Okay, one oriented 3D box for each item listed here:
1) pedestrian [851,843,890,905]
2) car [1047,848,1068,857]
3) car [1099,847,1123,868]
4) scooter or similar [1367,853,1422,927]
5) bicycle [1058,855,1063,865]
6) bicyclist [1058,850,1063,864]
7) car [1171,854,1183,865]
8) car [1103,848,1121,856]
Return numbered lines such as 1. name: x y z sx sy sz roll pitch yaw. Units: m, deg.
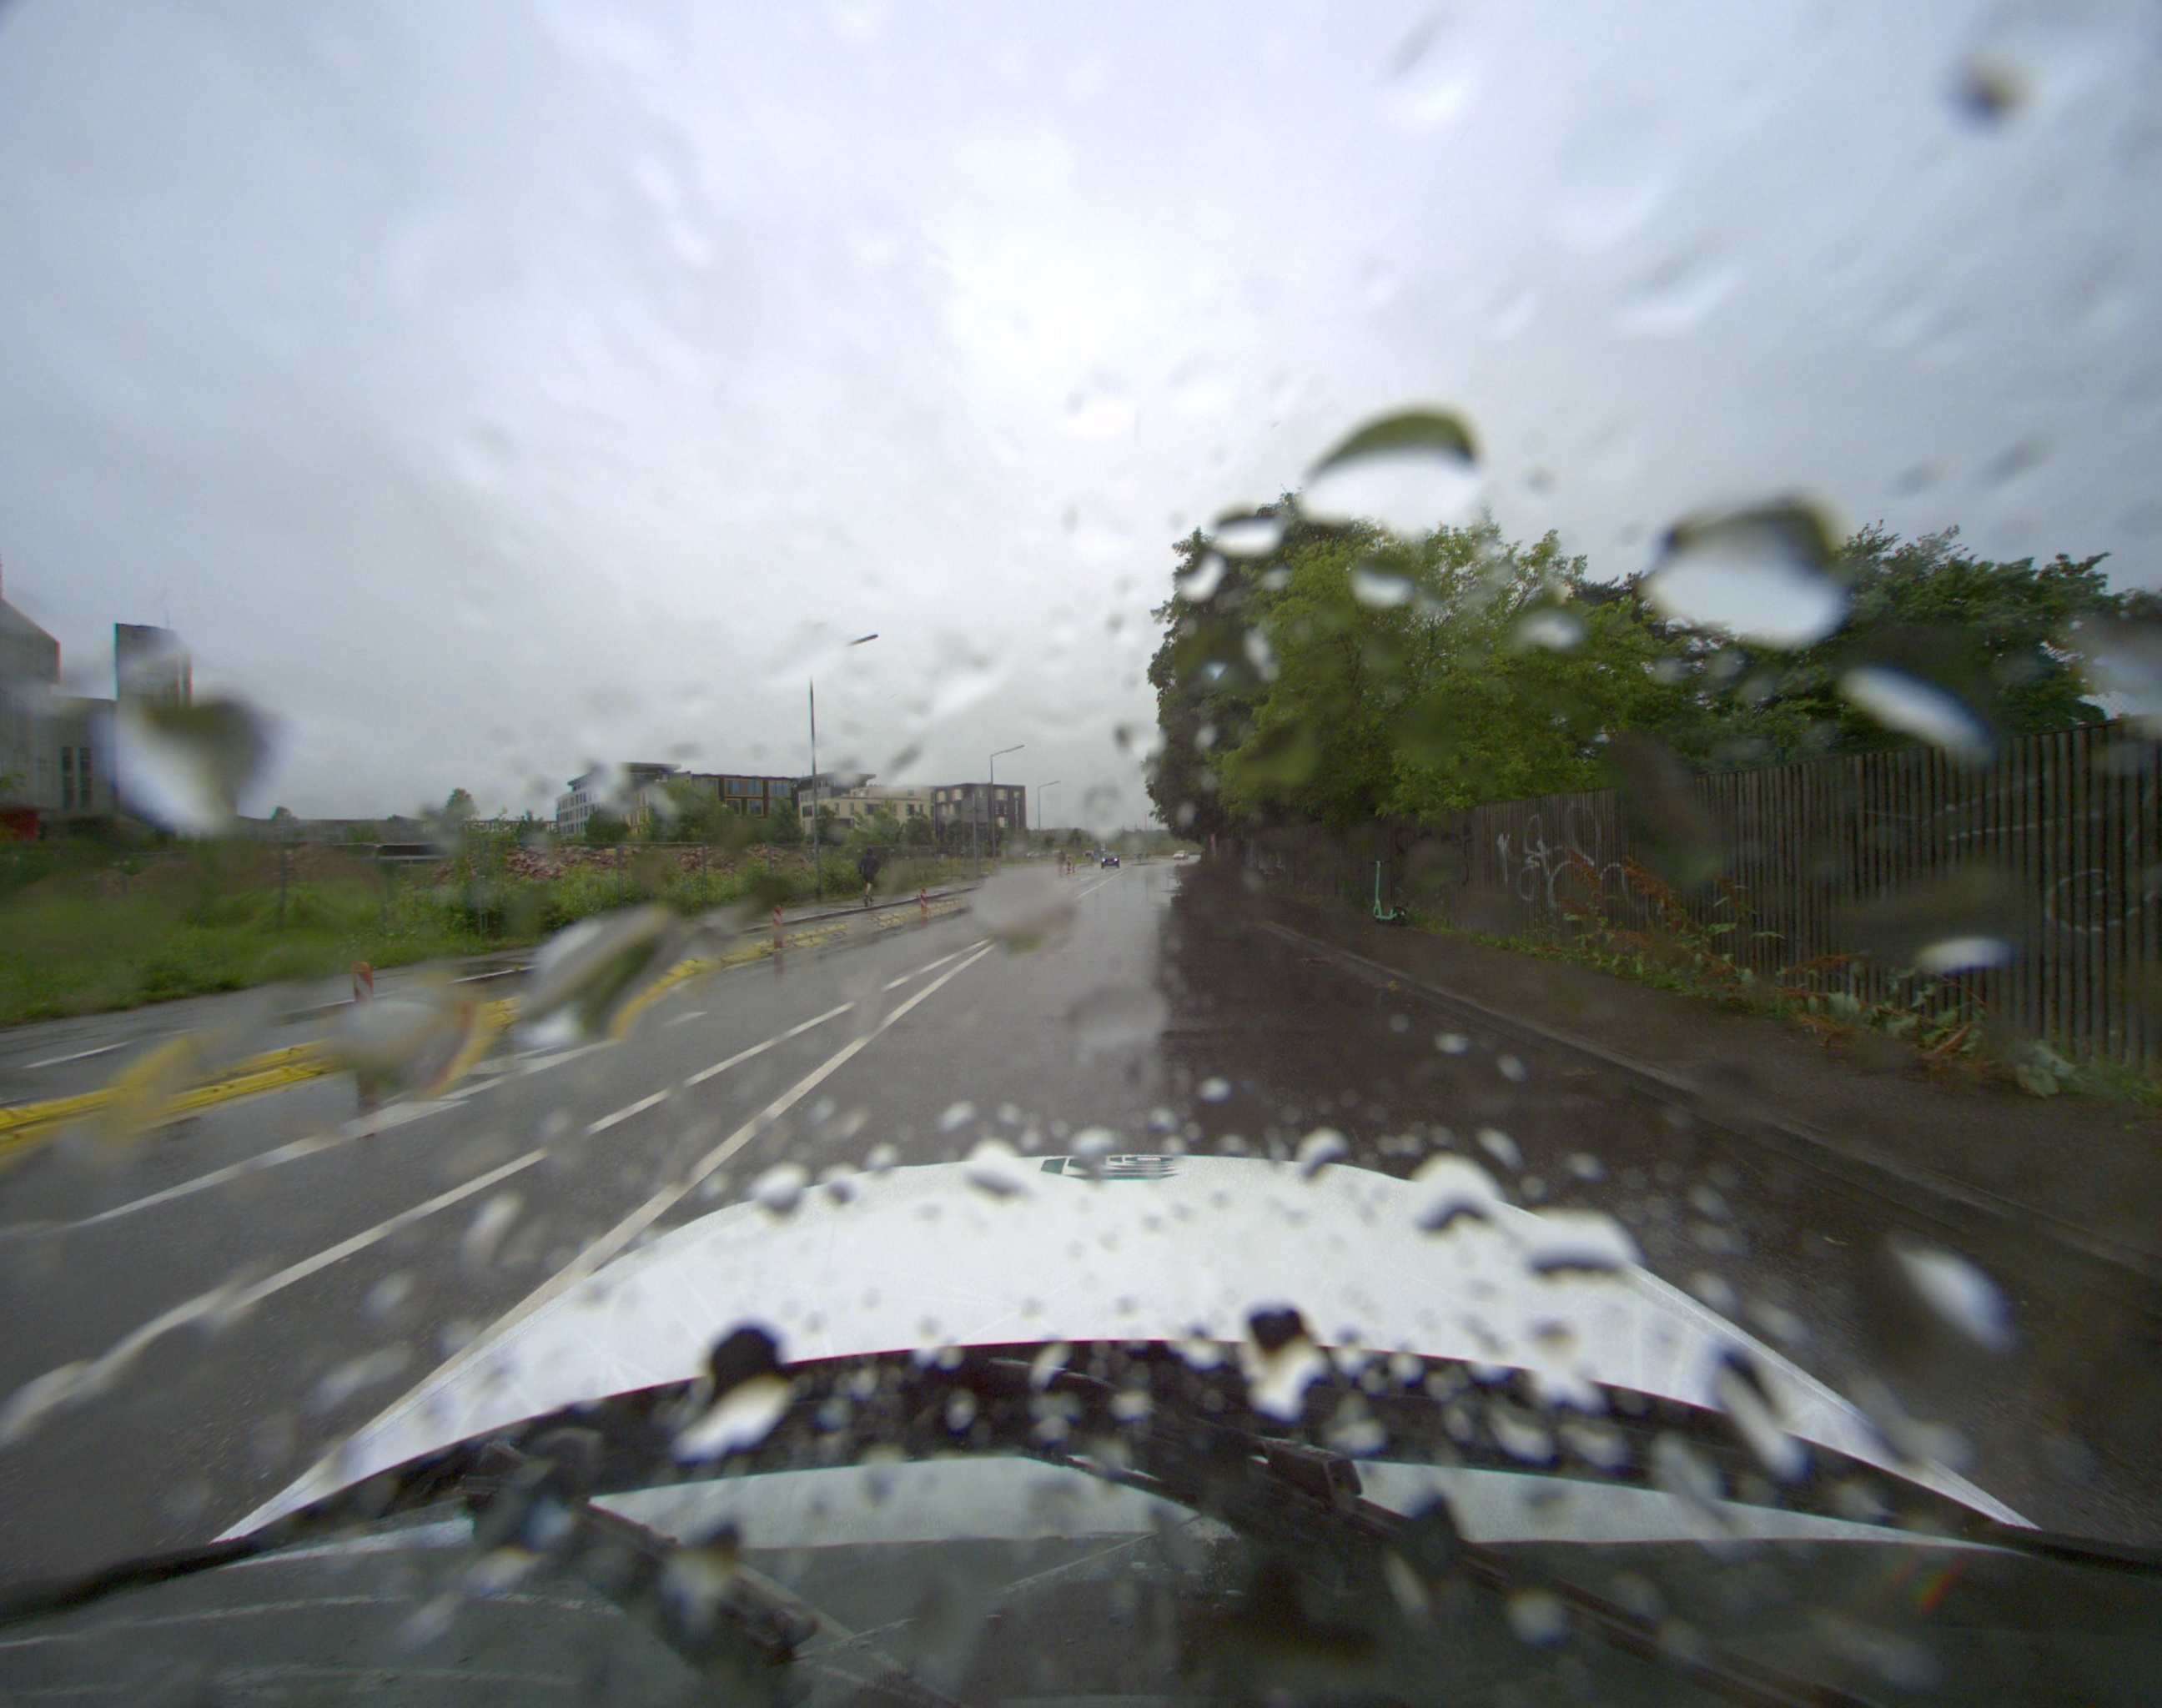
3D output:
1. pedestrian: -7.025 0.665 27.201 0.841 2.014 1.134 -2 -2 9
2. car: -5.067 -0.312 174.560 4.019 1.772 1.977 0 -3 -39
3. car: 2.800 0.320 75.276 1.984 1.772 4.006 -2 0 5
4. scooter or similar: 5.534 0.613 14.441 0.489 1.235 1.371 -1 0 3
5. bicycle: -2.127 0.625 84.428 0.425 1.019 1.612 -1 0 0
6. bicyclist: -2.164 0.332 84.546 0.442 1.404 0.550 -1 -2 2
7. car: 16.406 0.903 139.079 1.982 1.772 4.008 -2 -2 8
8. car: 7.310 -0.408 192.427 4.019 1.772 1.977 0 -3 -39
